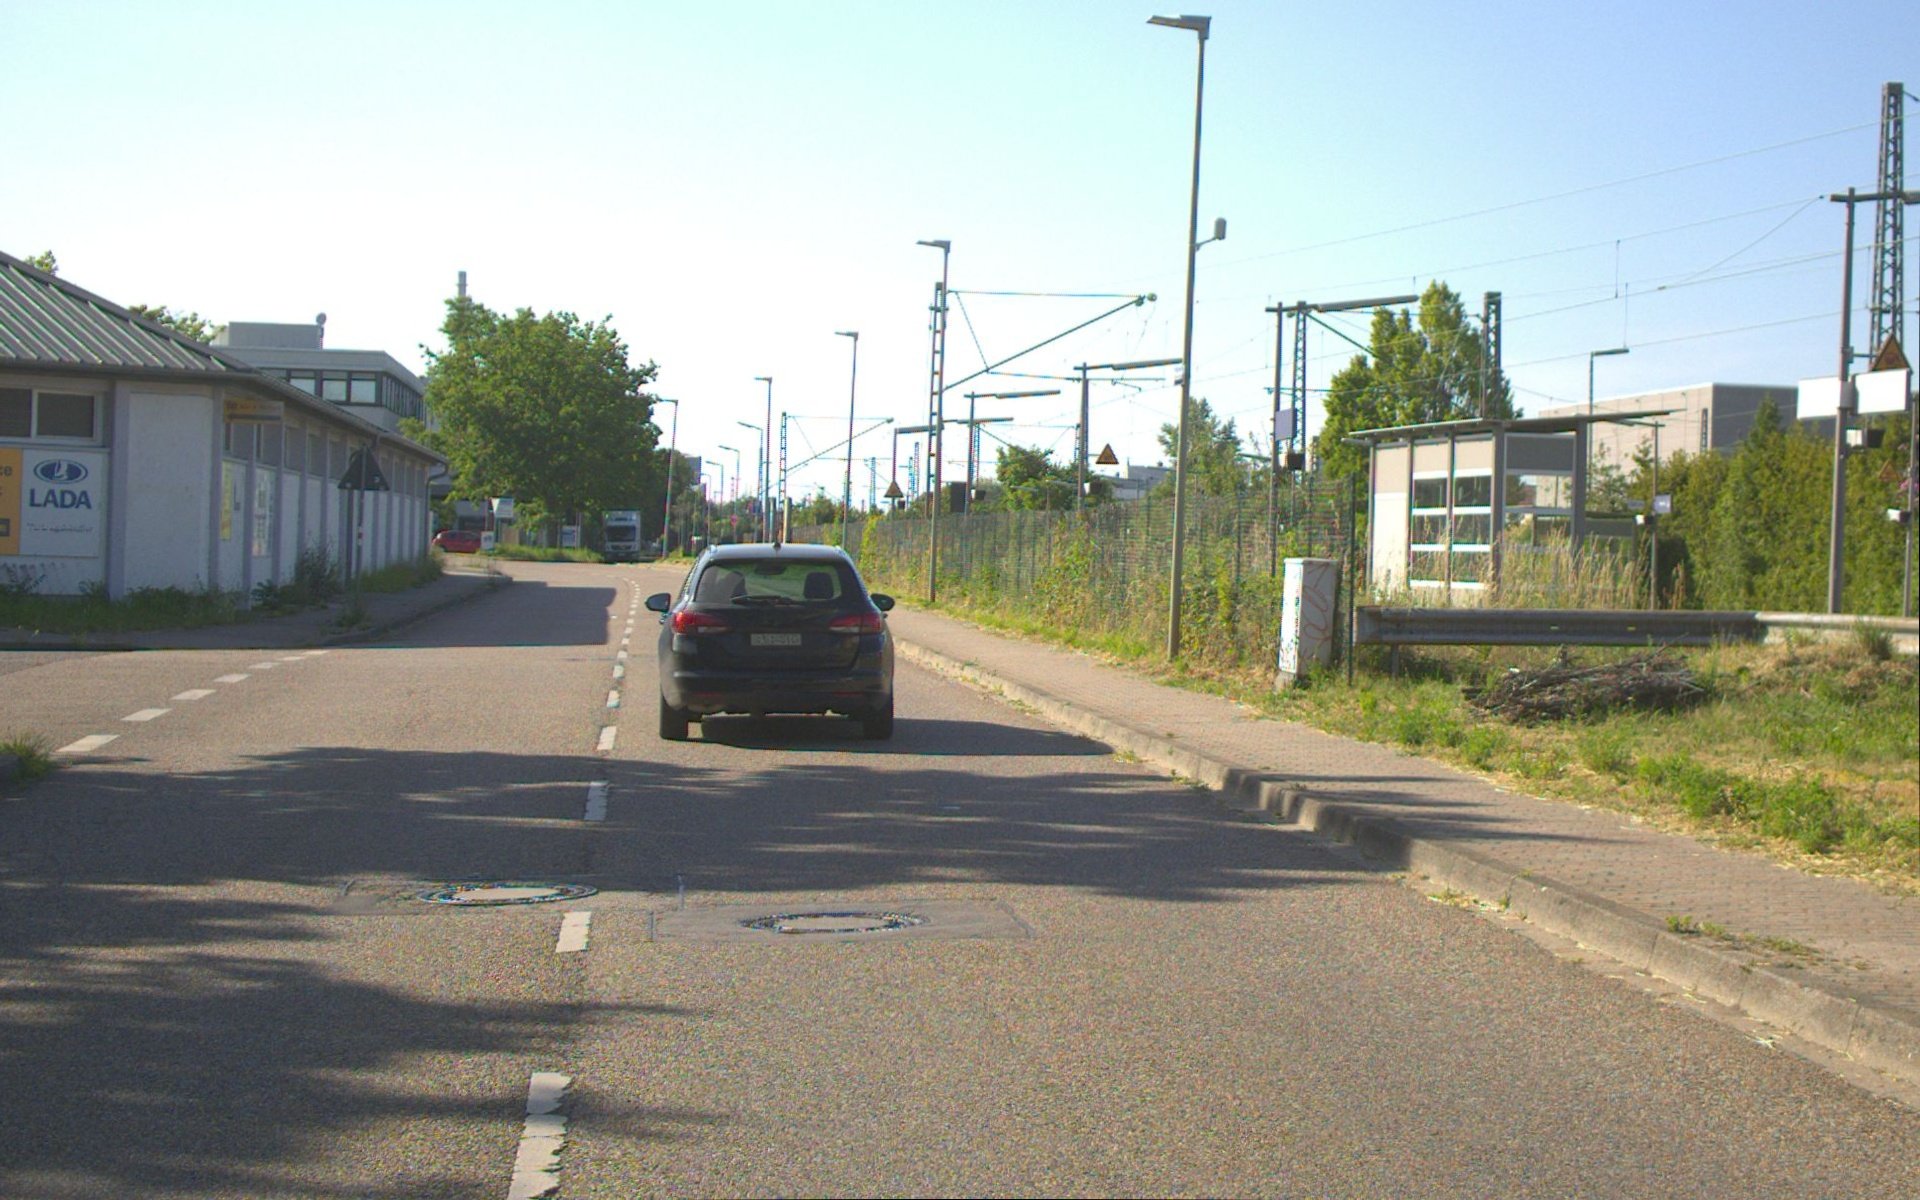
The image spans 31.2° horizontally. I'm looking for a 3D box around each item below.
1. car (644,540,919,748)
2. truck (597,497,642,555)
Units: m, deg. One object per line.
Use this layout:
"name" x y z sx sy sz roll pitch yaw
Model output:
"car" -1.491 0.282 27.027 1.942 1.483 4.566 0 1 -6
"truck" -23.945 -5.190 241.393 2.612 3.872 13.535 2 1 -7
